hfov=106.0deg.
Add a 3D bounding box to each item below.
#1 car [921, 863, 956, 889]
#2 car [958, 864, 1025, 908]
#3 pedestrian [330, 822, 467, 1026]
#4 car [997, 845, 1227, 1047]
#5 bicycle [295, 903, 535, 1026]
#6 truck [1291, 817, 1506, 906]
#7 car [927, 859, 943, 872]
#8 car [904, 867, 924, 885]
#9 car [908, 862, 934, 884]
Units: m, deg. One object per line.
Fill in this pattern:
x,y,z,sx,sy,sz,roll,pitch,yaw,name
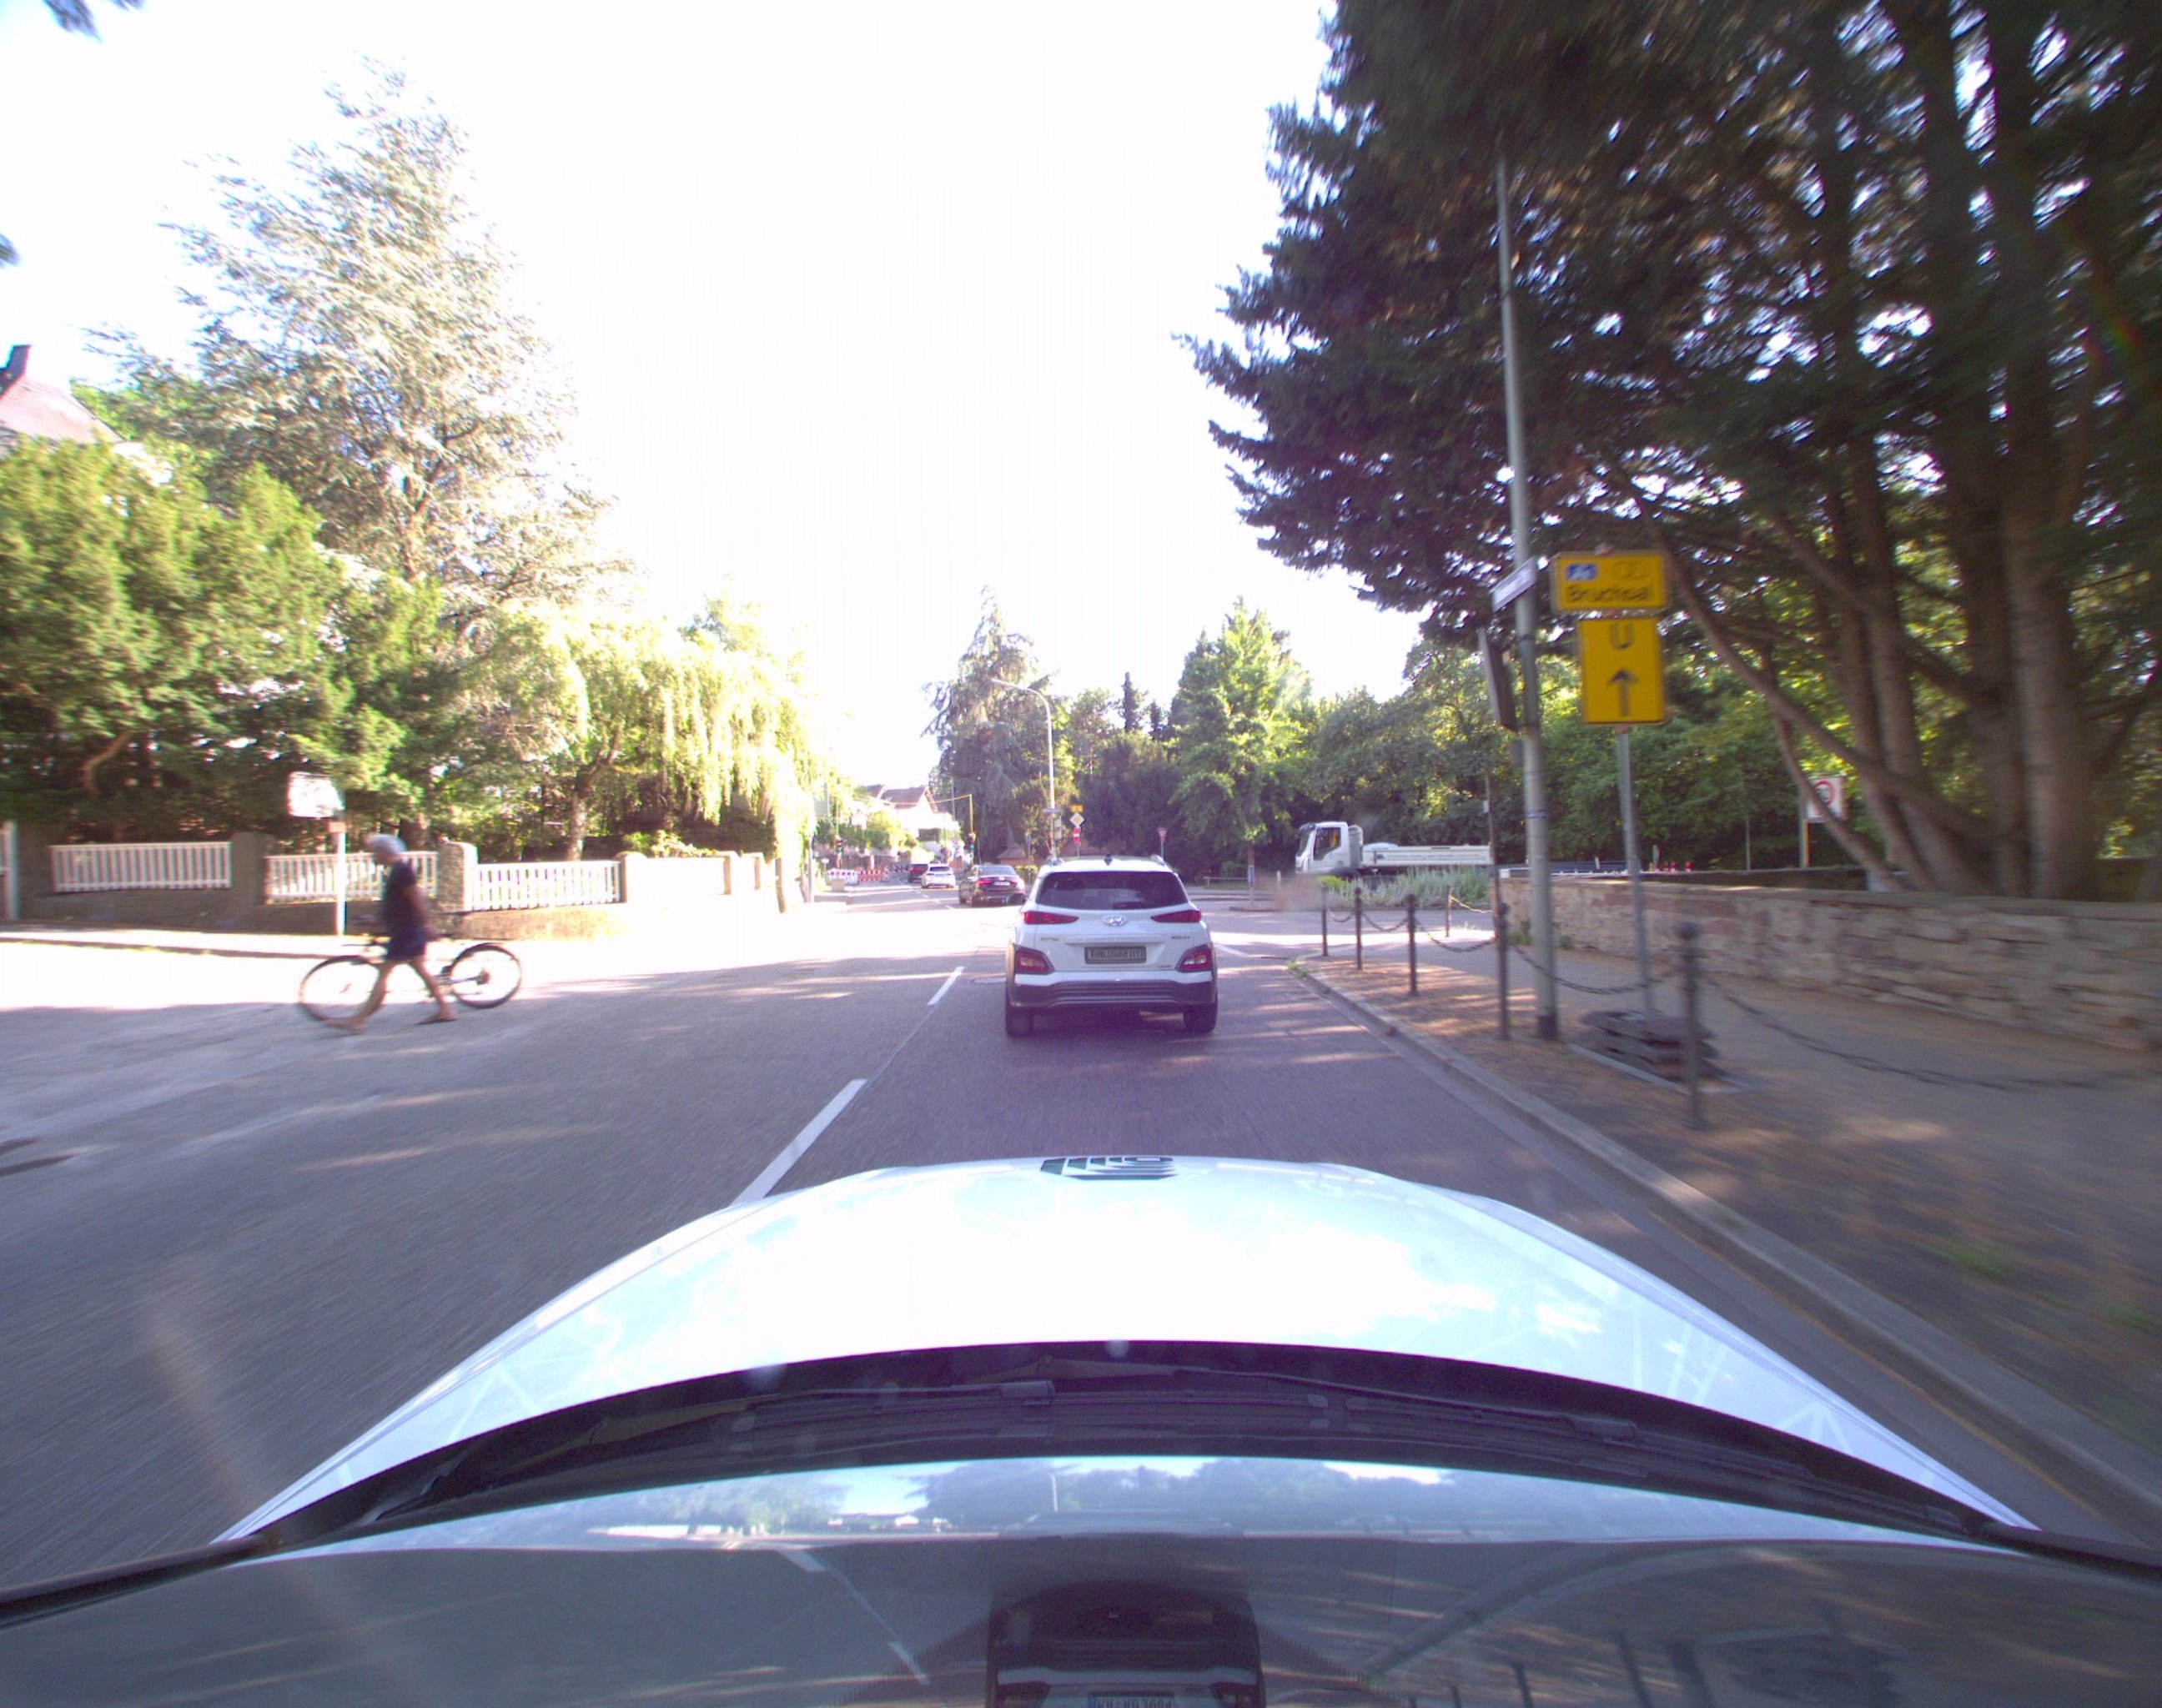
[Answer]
-8.970,1.370,50.954,1.808,1.537,3.979,0,-1,-15,car
-3.242,1.069,28.851,1.711,1.434,4.341,0,-1,-16,car
-6.475,0.622,7.778,0.947,1.826,0.548,1,1,-36,pedestrian
0.182,0.741,8.430,1.816,1.574,3.996,0,-1,-2,car
-6.652,1.063,8.266,1.825,1.043,0.556,0,1,-35,bicycle
10.754,0.264,28.153,6.550,2.895,2.438,0,-1,7,truck
-19.946,1.577,111.512,1.829,1.662,3.992,0,-1,-5,car
-16.773,2.209,81.638,1.833,1.741,3.982,0,-1,-13,car
-12.876,1.508,65.489,1.834,1.662,3.981,0,-1,-14,car
